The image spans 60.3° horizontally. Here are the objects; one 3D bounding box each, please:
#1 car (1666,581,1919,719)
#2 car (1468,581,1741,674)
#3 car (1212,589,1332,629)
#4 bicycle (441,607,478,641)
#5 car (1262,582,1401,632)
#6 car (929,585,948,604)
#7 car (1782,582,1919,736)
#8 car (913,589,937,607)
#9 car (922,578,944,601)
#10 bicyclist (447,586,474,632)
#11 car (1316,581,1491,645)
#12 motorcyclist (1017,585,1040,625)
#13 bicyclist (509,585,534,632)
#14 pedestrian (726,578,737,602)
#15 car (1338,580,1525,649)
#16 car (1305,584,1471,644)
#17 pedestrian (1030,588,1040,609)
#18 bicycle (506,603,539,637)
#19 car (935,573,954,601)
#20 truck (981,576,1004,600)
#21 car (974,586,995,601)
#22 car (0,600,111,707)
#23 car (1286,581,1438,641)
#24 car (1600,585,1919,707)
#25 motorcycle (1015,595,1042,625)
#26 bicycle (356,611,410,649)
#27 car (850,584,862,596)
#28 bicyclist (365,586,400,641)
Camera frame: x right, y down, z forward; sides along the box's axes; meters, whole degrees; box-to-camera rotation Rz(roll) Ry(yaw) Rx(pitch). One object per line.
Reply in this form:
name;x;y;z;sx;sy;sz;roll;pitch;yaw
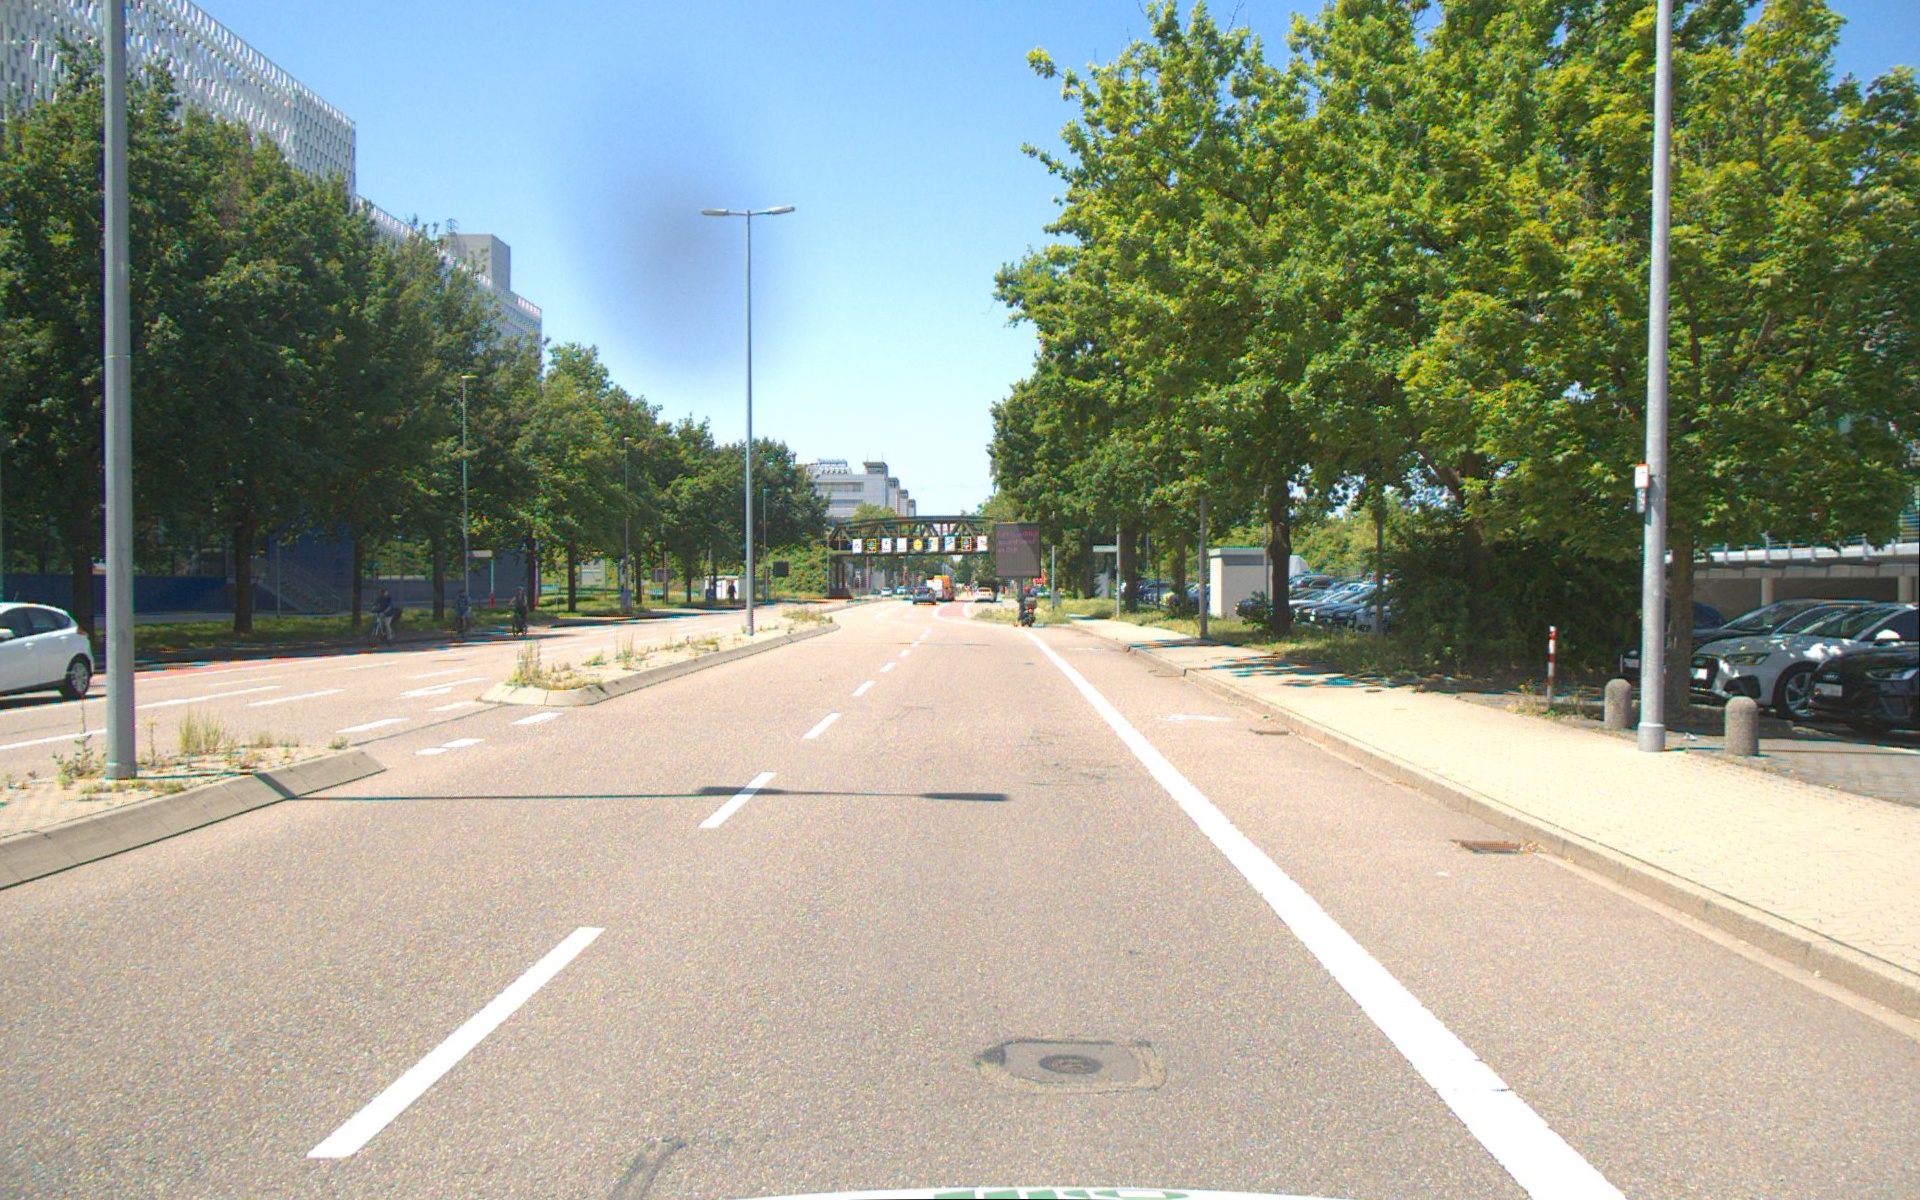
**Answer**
car;10.649;0.595;19.756;3.606;1.478;1.834;2;0;0
car;12.050;0.498;31.108;4.358;1.417;1.834;4;0;0
car;11.750;0.323;62.452;4.134;1.365;1.917;2;0;0
bicycle;-17.659;0.852;58.439;0.624;1.153;1.971;0;0;3
car;12.291;0.227;54.856;4.135;1.365;1.917;4;0;0
car;-2.172;-0.548;167.483;1.856;1.847;4.000;0;1;0
car;10.716;0.633;16.970;3.606;1.478;1.834;2;0;0
car;-2.807;-0.197;134.286;1.861;1.400;4.231;0;0;0
car;-2.453;-0.956;153.265;1.953;2.049;4.000;1;0;0
bicyclist;-17.661;0.308;58.465;0.623;1.610;0.885;0;0;3
car;11.852;0.324;44.381;4.135;1.431;1.917;4;0;0
motorcyclist;2.715;0.194;65.603;0.706;1.556;0.869;1;0;-9
bicyclist;-16.019;0.299;60.434;0.621;1.657;1.044;-2;0;0
pedestrian;-18.390;-0.787;133.162;0.728;1.917;0.577;0;0;1
car;11.879;0.356;41.858;4.135;1.431;1.917;4;0;0
car;12.066;0.371;46.829;4.135;1.393;1.988;4;0;0
pedestrian;5.091;-0.119;112.289;0.611;1.398;0.564;0;0;-1
bicycle;-16.005;0.727;60.549;0.616;1.179;2.117;-2;0;0
car;-1.643;-1.391;176.816;2.030;2.904;6.764;0;0;0
truck;3.504;-1.350;180.115;2.408;2.452;7.134;2;1;0
car;2.272;-0.631;155.911;1.885;1.445;4.000;1;0;0
car;-14.101;0.770;23.544;1.691;1.471;4.451;-2;0;0
car;12.012;0.316;49.559;4.046;1.404;1.779;5;0;0
car;11.162;0.606;22.521;4.145;1.426;1.816;2;1;0
motorcycle;2.714;0.397;65.573;0.703;1.124;1.826;1;0;-9
bicycle;-18.205;0.933;52.227;0.724;1.145;2.435;0;0;3
car;-15.854;-1.568;251.382;1.681;1.763;3.805;0;0;-2
bicyclist;-18.209;0.408;52.197;0.729;1.715;0.952;0;0;3
